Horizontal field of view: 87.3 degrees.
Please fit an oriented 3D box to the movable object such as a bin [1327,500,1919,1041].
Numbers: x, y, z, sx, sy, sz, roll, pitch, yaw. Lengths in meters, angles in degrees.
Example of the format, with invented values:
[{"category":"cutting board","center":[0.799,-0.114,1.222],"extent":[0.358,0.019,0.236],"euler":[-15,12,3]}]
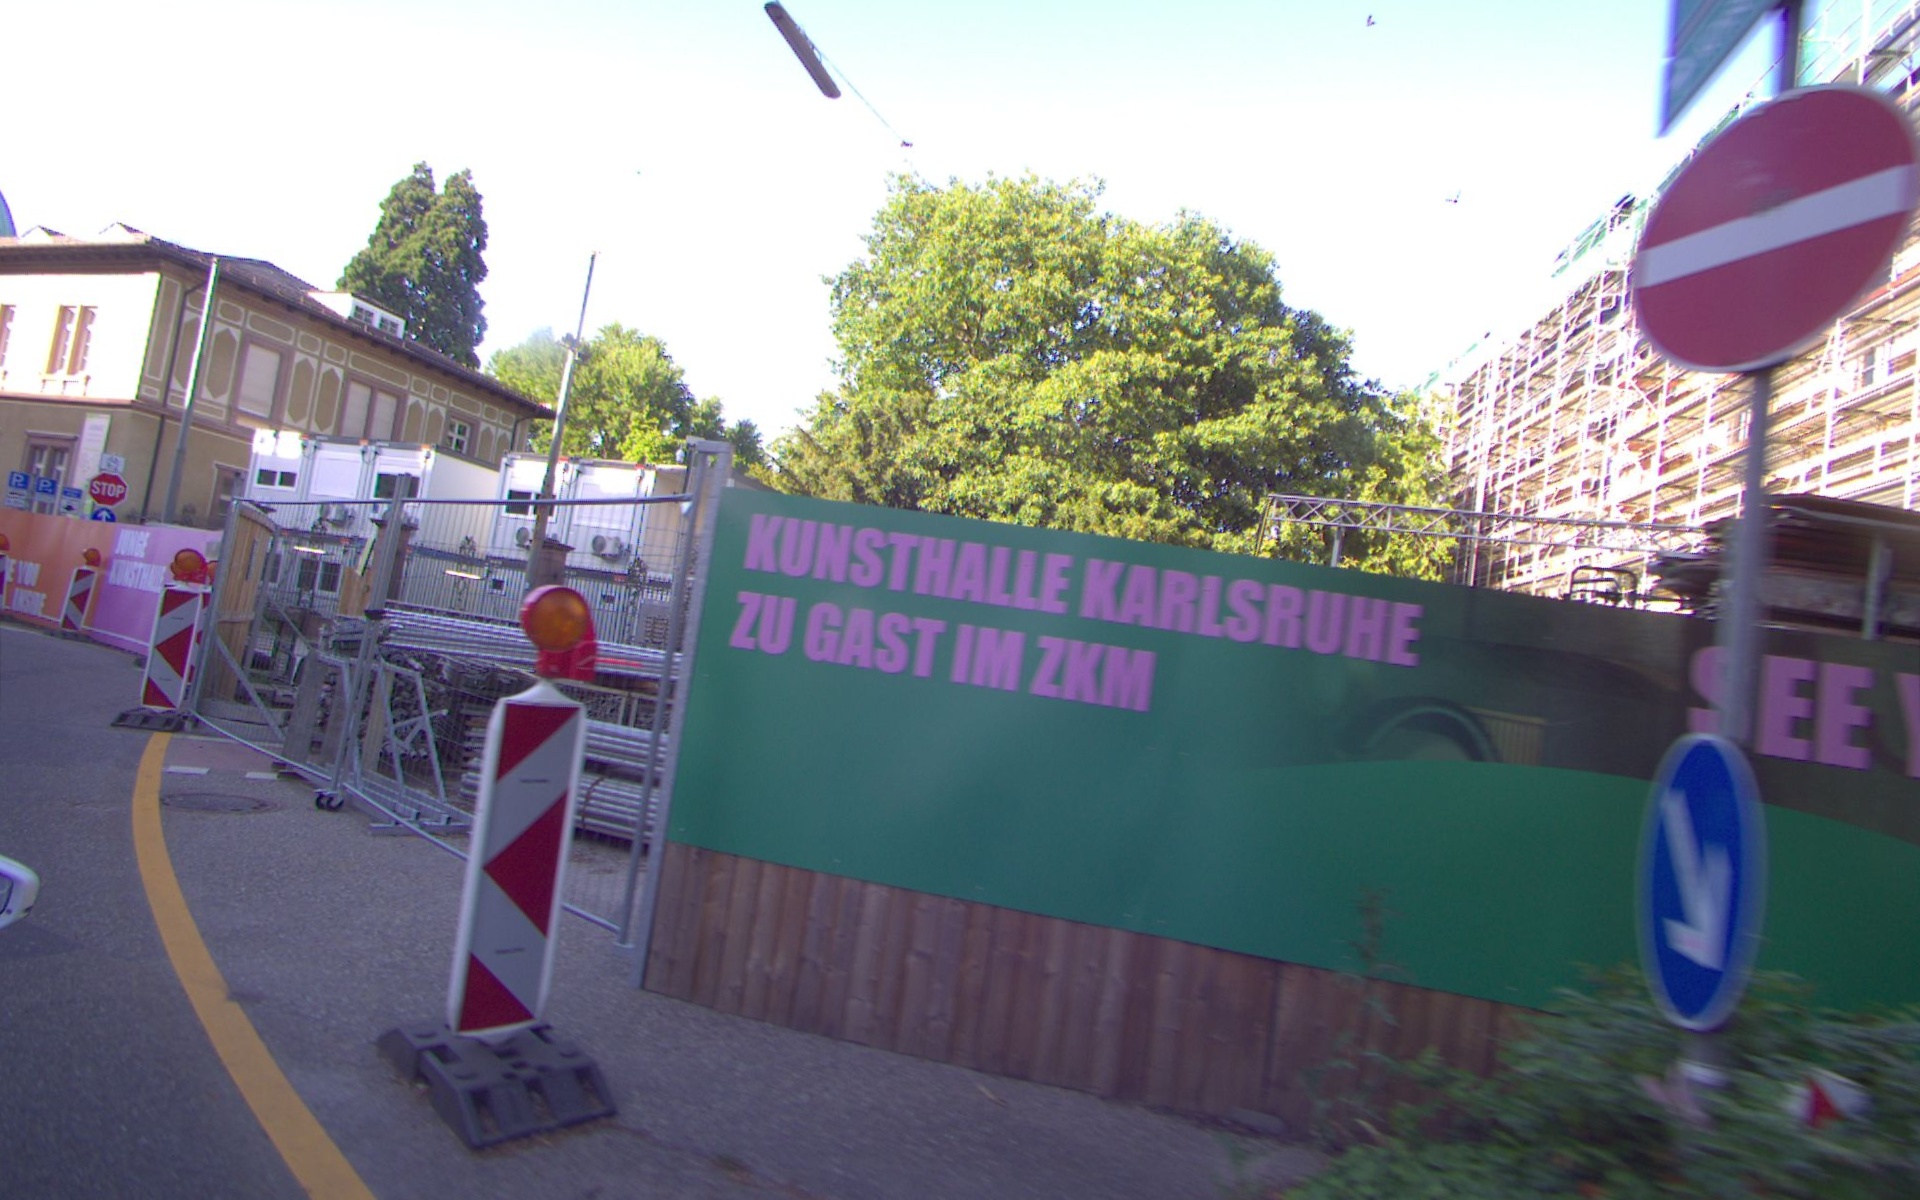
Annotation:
[{"category":"movable object such as a bin","center":[5.715,1.294,8.740],"extent":[4.304,3.335,3.178],"euler":[7,-4,19]}]
